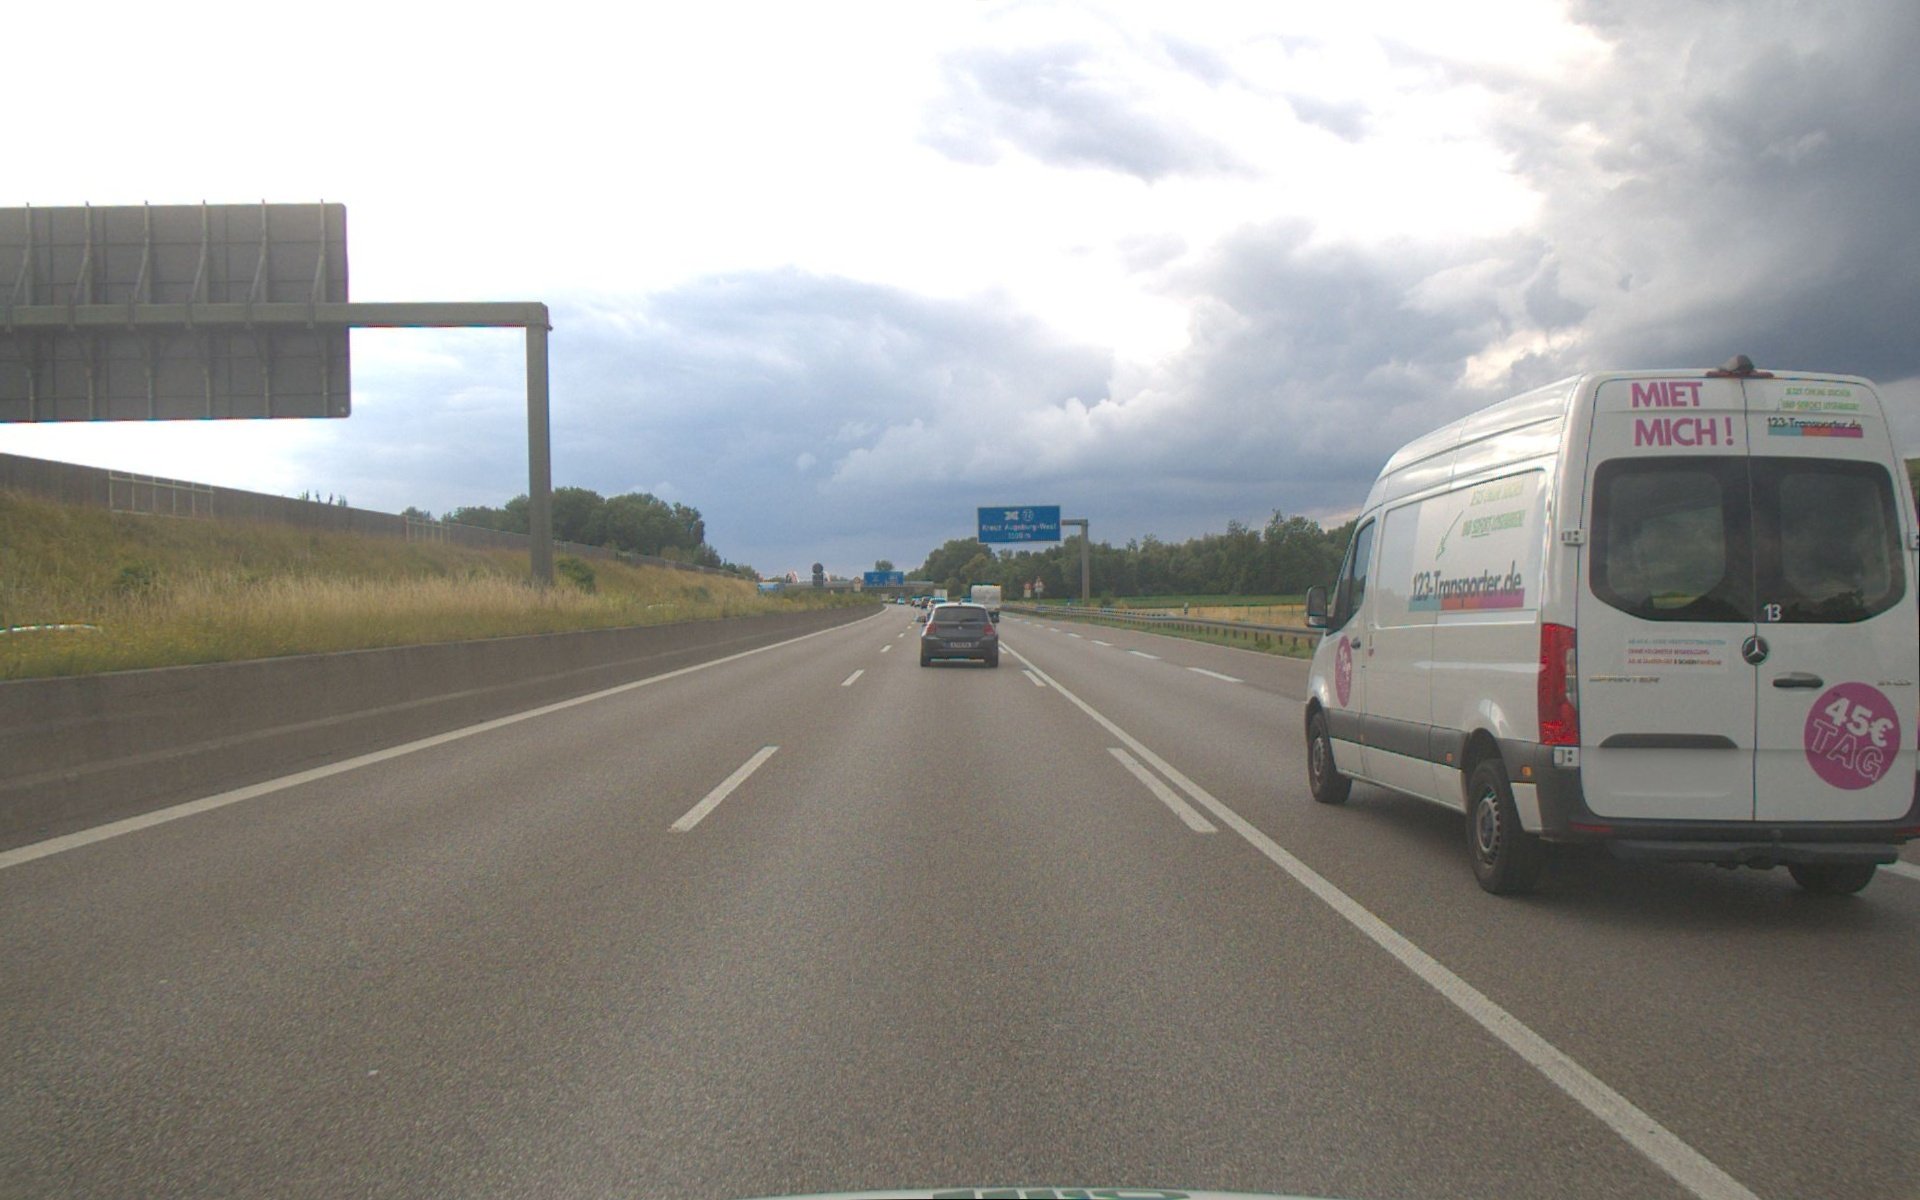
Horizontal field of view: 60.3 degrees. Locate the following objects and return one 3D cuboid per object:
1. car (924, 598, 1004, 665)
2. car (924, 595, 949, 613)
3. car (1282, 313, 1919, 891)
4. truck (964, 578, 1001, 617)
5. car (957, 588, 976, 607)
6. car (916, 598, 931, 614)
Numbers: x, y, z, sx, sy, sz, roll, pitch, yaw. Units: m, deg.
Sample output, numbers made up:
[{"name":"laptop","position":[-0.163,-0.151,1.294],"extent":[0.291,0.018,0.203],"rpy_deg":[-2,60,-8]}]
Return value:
[{"name":"car","position":[0.068,0.676,37.686],"extent":[1.708,1.413,4.000],"rpy_deg":[1,0,-1]},{"name":"car","position":[-1.853,0.312,130.597],"extent":[1.953,1.321,3.999],"rpy_deg":[-1,0,-1]},{"name":"car","position":[3.791,-0.009,10.631],"extent":[2.176,2.613,6.255],"rpy_deg":[0,0,-1]},{"name":"truck","position":[1.784,-0.176,136.654],"extent":[2.655,3.016,12.444],"rpy_deg":[1,0,-1]},{"name":"car","position":[0.728,-0.313,184.672],"extent":[1.953,2.049,3.999],"rpy_deg":[-1,0,-1]},{"name":"car","position":[-4.885,0.799,224.224],"extent":[1.953,2.049,3.999],"rpy_deg":[-1,0,-1]}]
